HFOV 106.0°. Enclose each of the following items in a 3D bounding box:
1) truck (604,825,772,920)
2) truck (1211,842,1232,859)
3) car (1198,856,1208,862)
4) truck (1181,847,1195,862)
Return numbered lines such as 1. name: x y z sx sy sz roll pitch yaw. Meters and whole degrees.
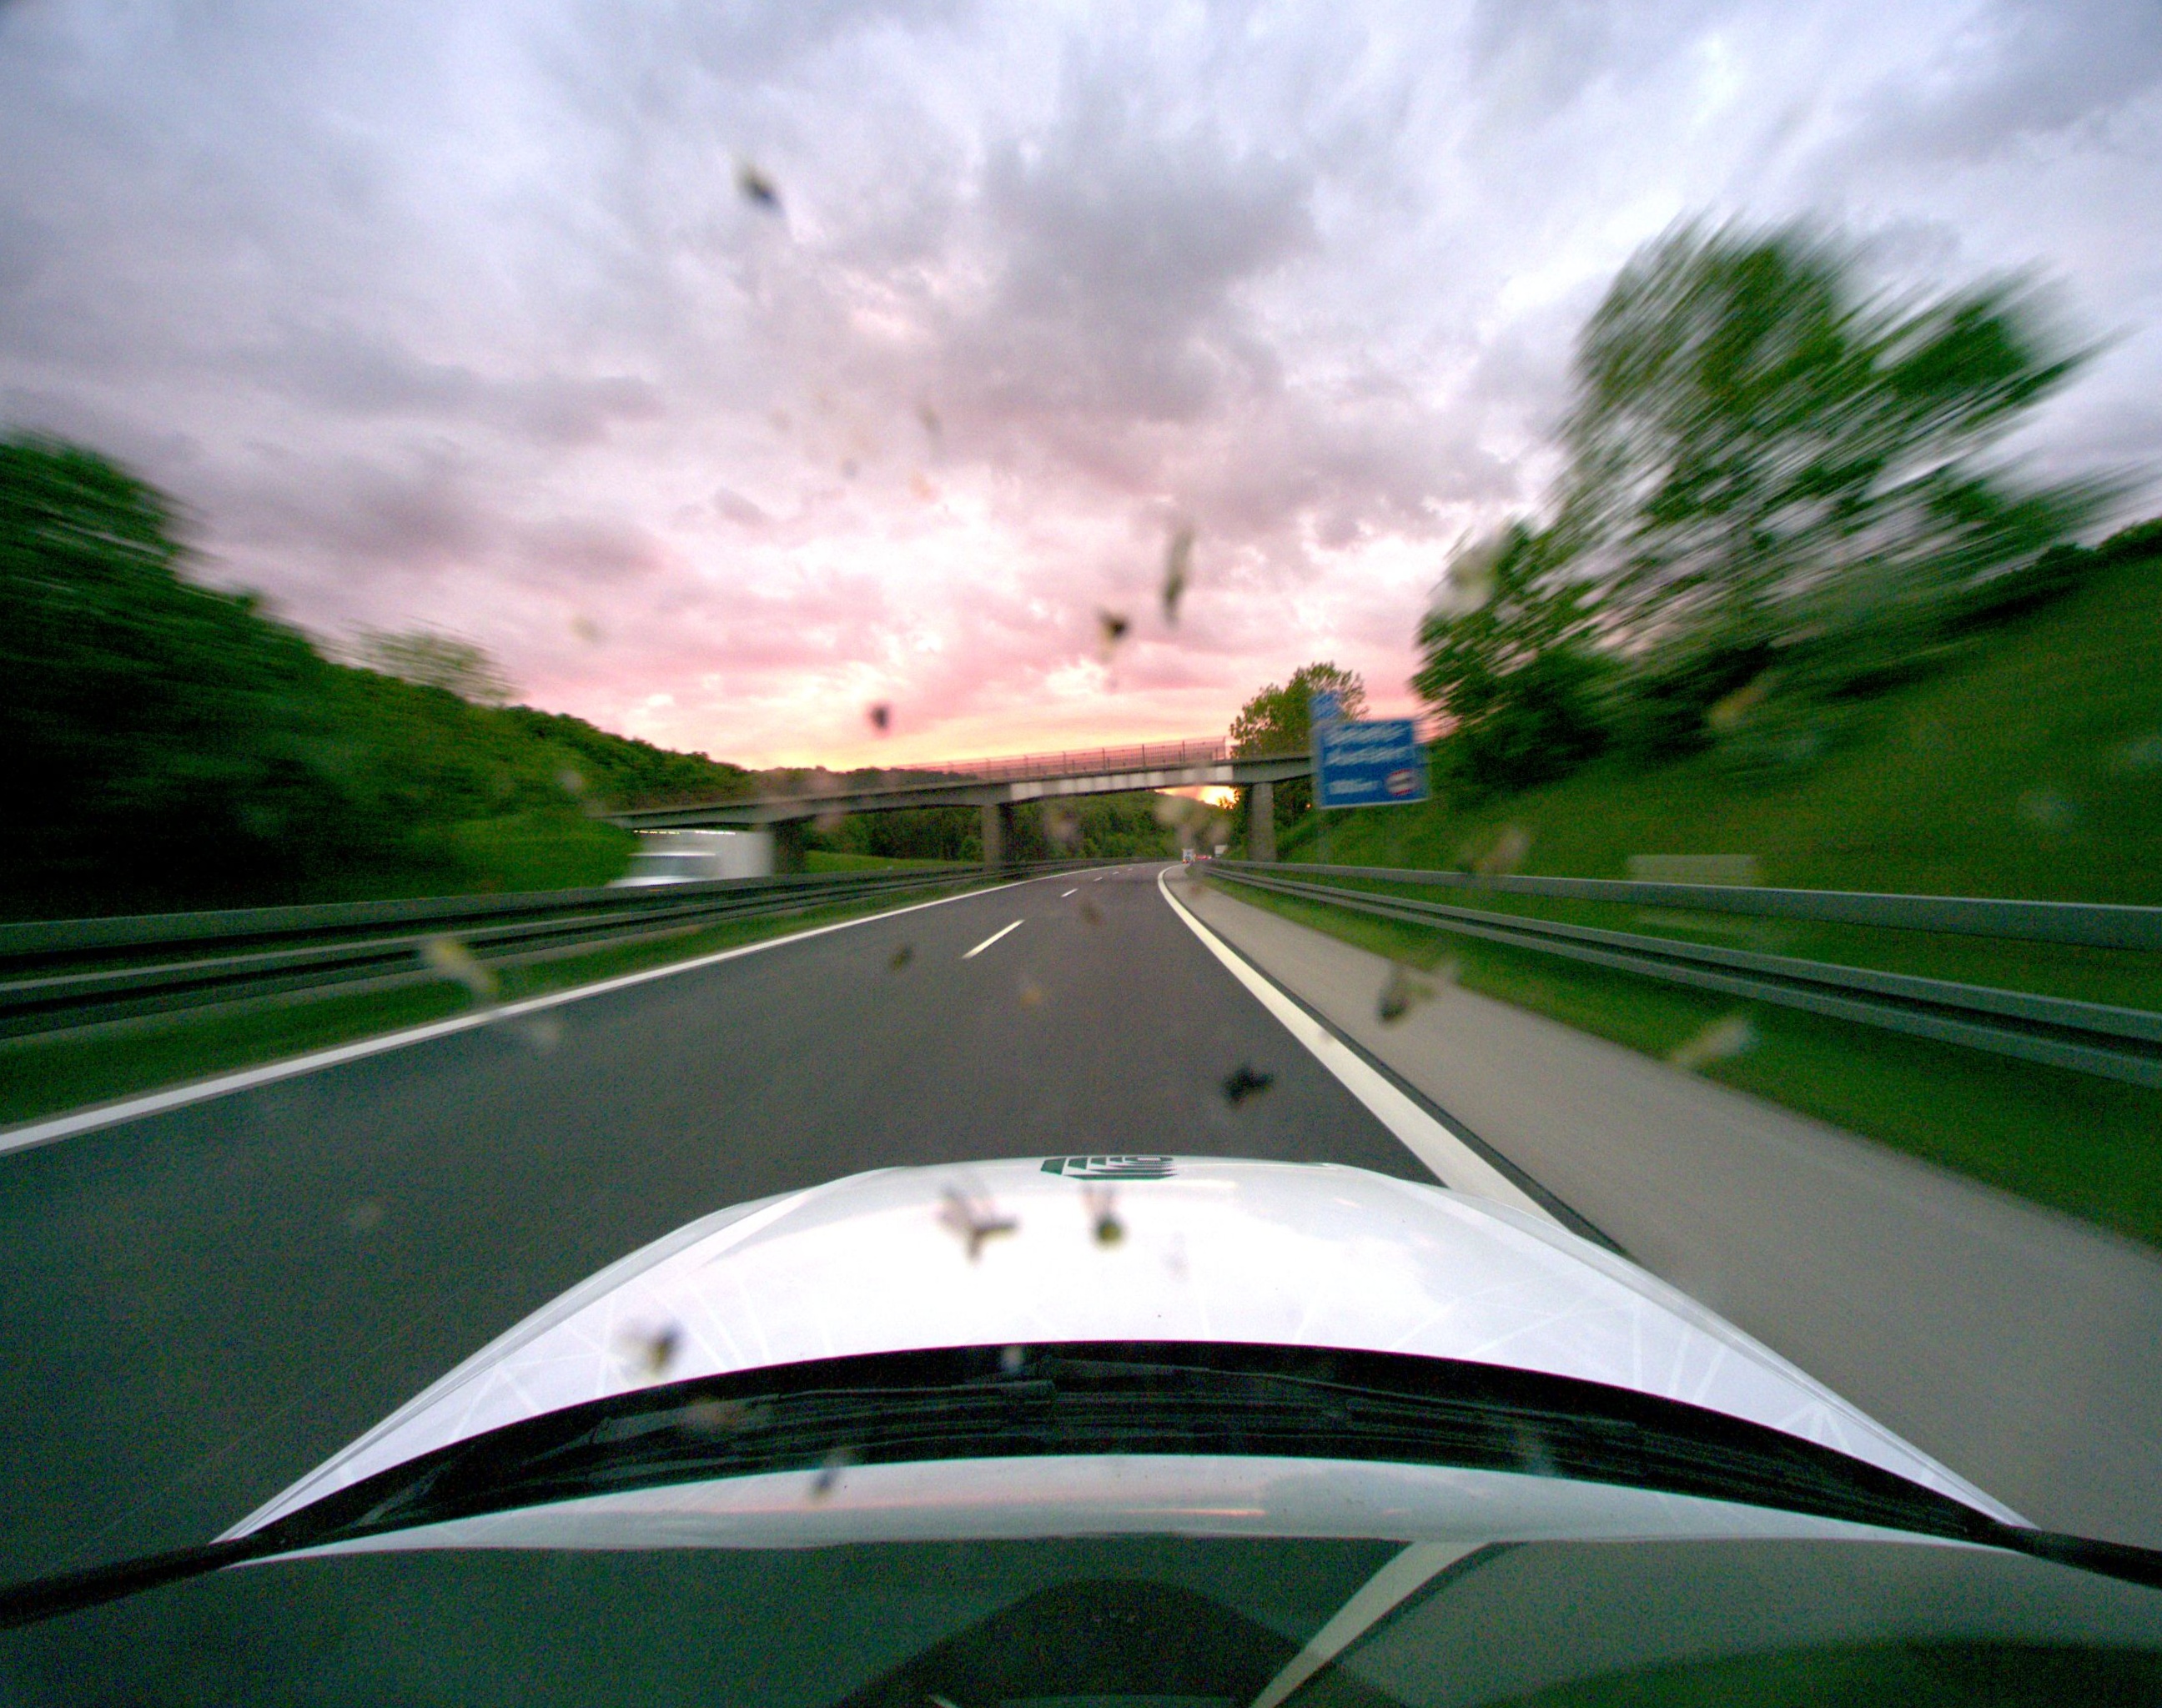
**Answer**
1. truck: -14.244 0.628 30.229 2.600 3.109 6.676 -1 0 4
2. truck: 38.011 -0.950 219.910 3.928 4.287 14.383 -2 0 16
3. car: 31.799 1.319 212.796 1.978 1.517 4.018 -2 0 17
4. truck: 20.912 0.148 158.947 2.260 2.664 5.254 -3 1 12
